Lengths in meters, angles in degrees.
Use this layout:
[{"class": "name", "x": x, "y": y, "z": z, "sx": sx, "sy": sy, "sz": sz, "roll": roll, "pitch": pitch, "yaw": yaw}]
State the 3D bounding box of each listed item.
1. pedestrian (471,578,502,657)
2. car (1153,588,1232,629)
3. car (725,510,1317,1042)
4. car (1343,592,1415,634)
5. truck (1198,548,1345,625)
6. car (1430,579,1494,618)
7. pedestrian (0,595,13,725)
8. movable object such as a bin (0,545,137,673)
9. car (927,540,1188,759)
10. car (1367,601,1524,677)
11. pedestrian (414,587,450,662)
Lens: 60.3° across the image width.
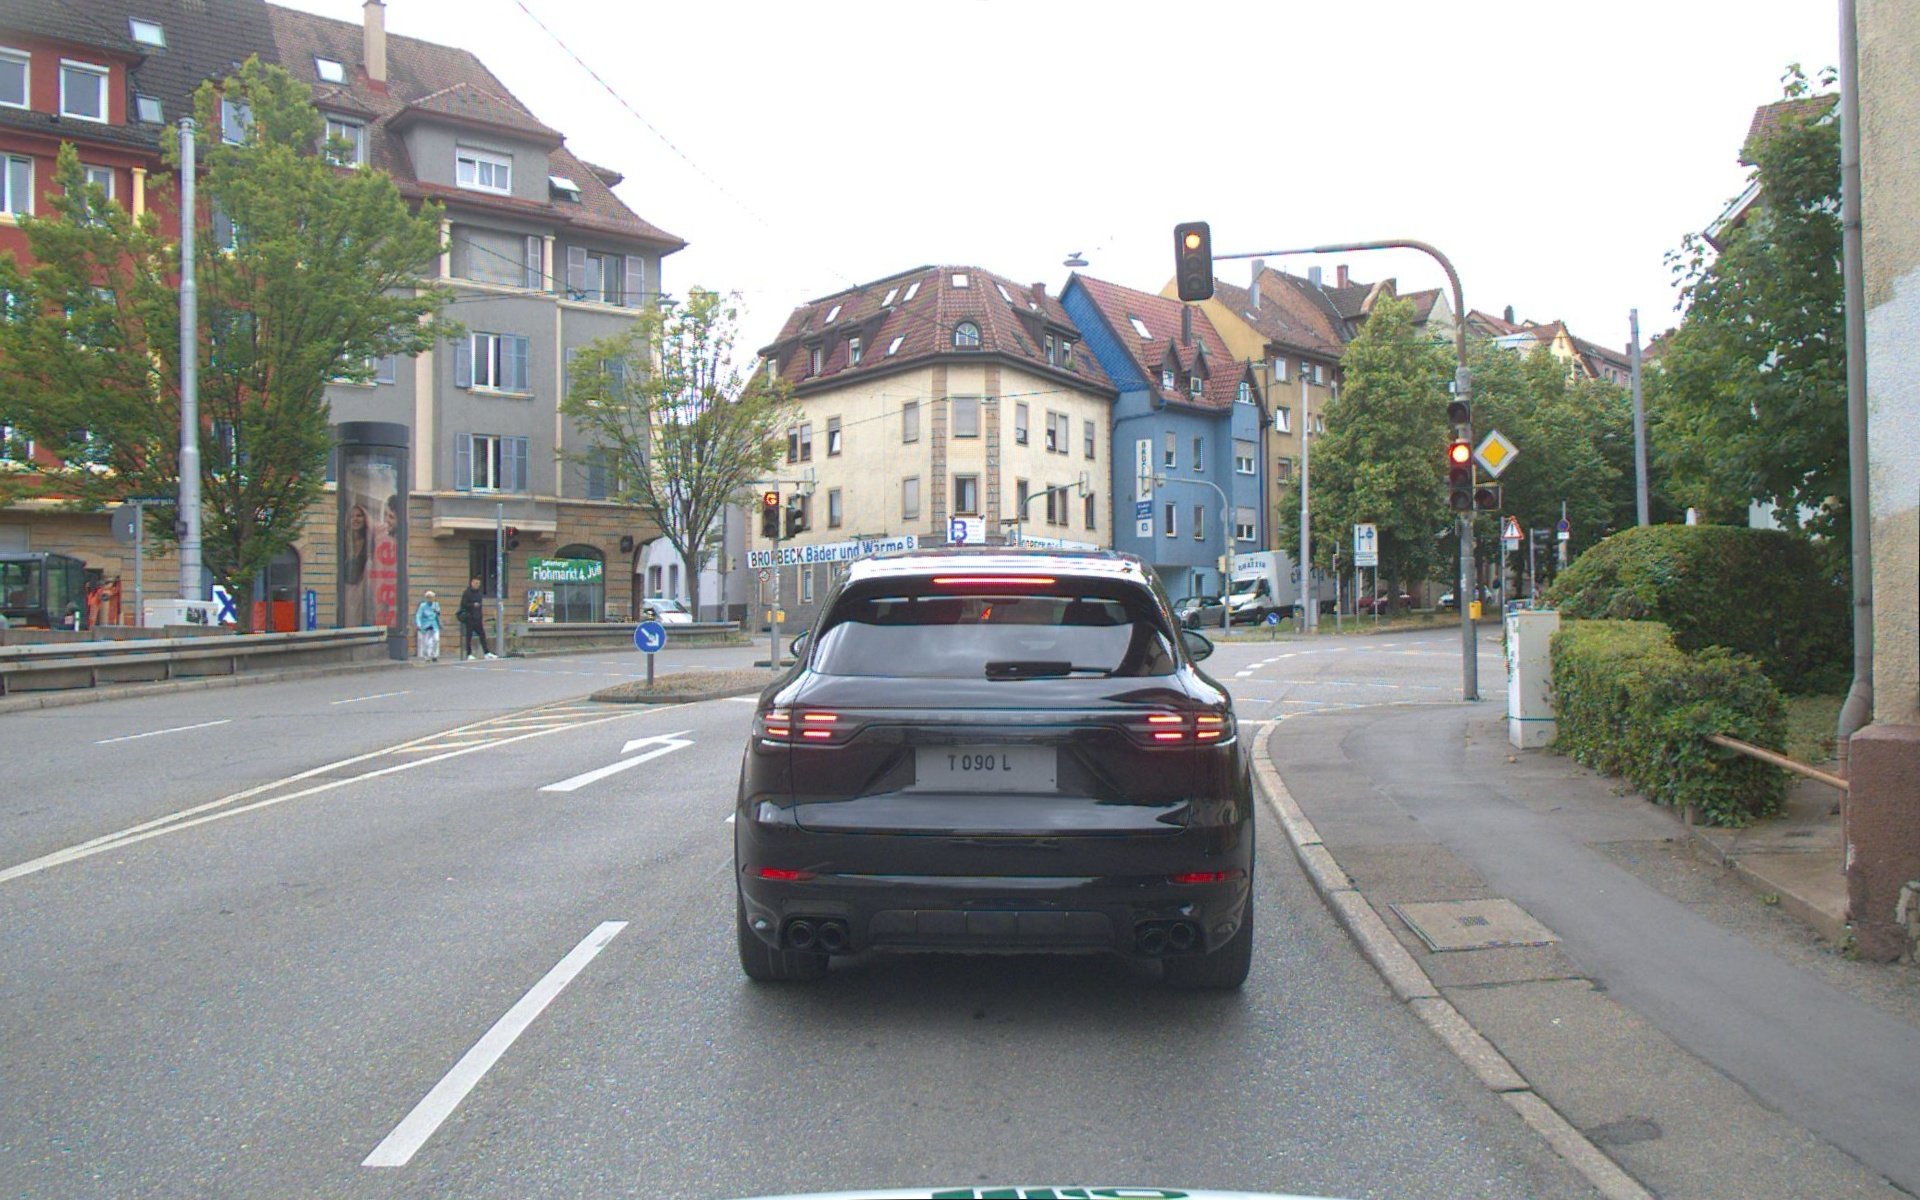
[{"class": "pedestrian", "x": -10.637, "y": 0.395, "z": 37.144, "sx": 0.503, "sy": 1.760, "sz": 0.451, "roll": 2, "pitch": -1, "yaw": 1}, {"class": "car", "x": 10.148, "y": 0.374, "z": 71.987, "sx": 1.958, "sy": 1.713, "sz": 3.989, "roll": 0, "pitch": 0, "yaw": 33}, {"class": "car", "x": 0.089, "y": 0.542, "z": 7.392, "sx": 1.939, "sy": 1.713, "sz": 3.997, "roll": 0, "pitch": 1, "yaw": -4}, {"class": "car", "x": 21.911, "y": 0.677, "z": 86.469, "sx": 1.965, "sy": 2.049, "sz": 3.975, "roll": 2, "pitch": 0, "yaw": 42}, {"class": "truck", "x": 14.942, "y": -0.601, "z": 78.792, "sx": 2.830, "sy": 3.398, "sz": 8.744, "roll": 2, "pitch": 0, "yaw": 41}, {"class": "car", "x": 28.449, "y": -0.098, "z": 93.644, "sx": 1.965, "sy": 2.049, "sz": 3.975, "roll": 2, "pitch": 0, "yaw": 42}, {"class": "pedestrian", "x": -13.280, "y": 0.808, "z": 22.561, "sx": 0.537, "sy": 1.760, "sz": 0.586, "roll": 2, "pitch": -1, "yaw": -35}, {"class": "movable object such as a bin", "x": -14.254, "y": 0.102, "z": 25.533, "sx": 1.870, "sy": 1.802, "sz": 3.986, "roll": 2, "pitch": 0, "yaw": -14}, {"class": "car", "x": 1.034, "y": 0.385, "z": 15.069, "sx": 1.951, "sy": 1.713, "sz": 4.003, "roll": 0, "pitch": 0, "yaw": 10}, {"class": "car", "x": 13.891, "y": 1.090, "z": 47.461, "sx": 1.977, "sy": 2.049, "sz": 3.951, "roll": 2, "pitch": -1, "yaw": -35}, {"class": "pedestrian", "x": -11.455, "y": 0.528, "z": 35.898, "sx": 0.577, "sy": 1.594, "sz": 0.486, "roll": 2, "pitch": -1, "yaw": -1}]
